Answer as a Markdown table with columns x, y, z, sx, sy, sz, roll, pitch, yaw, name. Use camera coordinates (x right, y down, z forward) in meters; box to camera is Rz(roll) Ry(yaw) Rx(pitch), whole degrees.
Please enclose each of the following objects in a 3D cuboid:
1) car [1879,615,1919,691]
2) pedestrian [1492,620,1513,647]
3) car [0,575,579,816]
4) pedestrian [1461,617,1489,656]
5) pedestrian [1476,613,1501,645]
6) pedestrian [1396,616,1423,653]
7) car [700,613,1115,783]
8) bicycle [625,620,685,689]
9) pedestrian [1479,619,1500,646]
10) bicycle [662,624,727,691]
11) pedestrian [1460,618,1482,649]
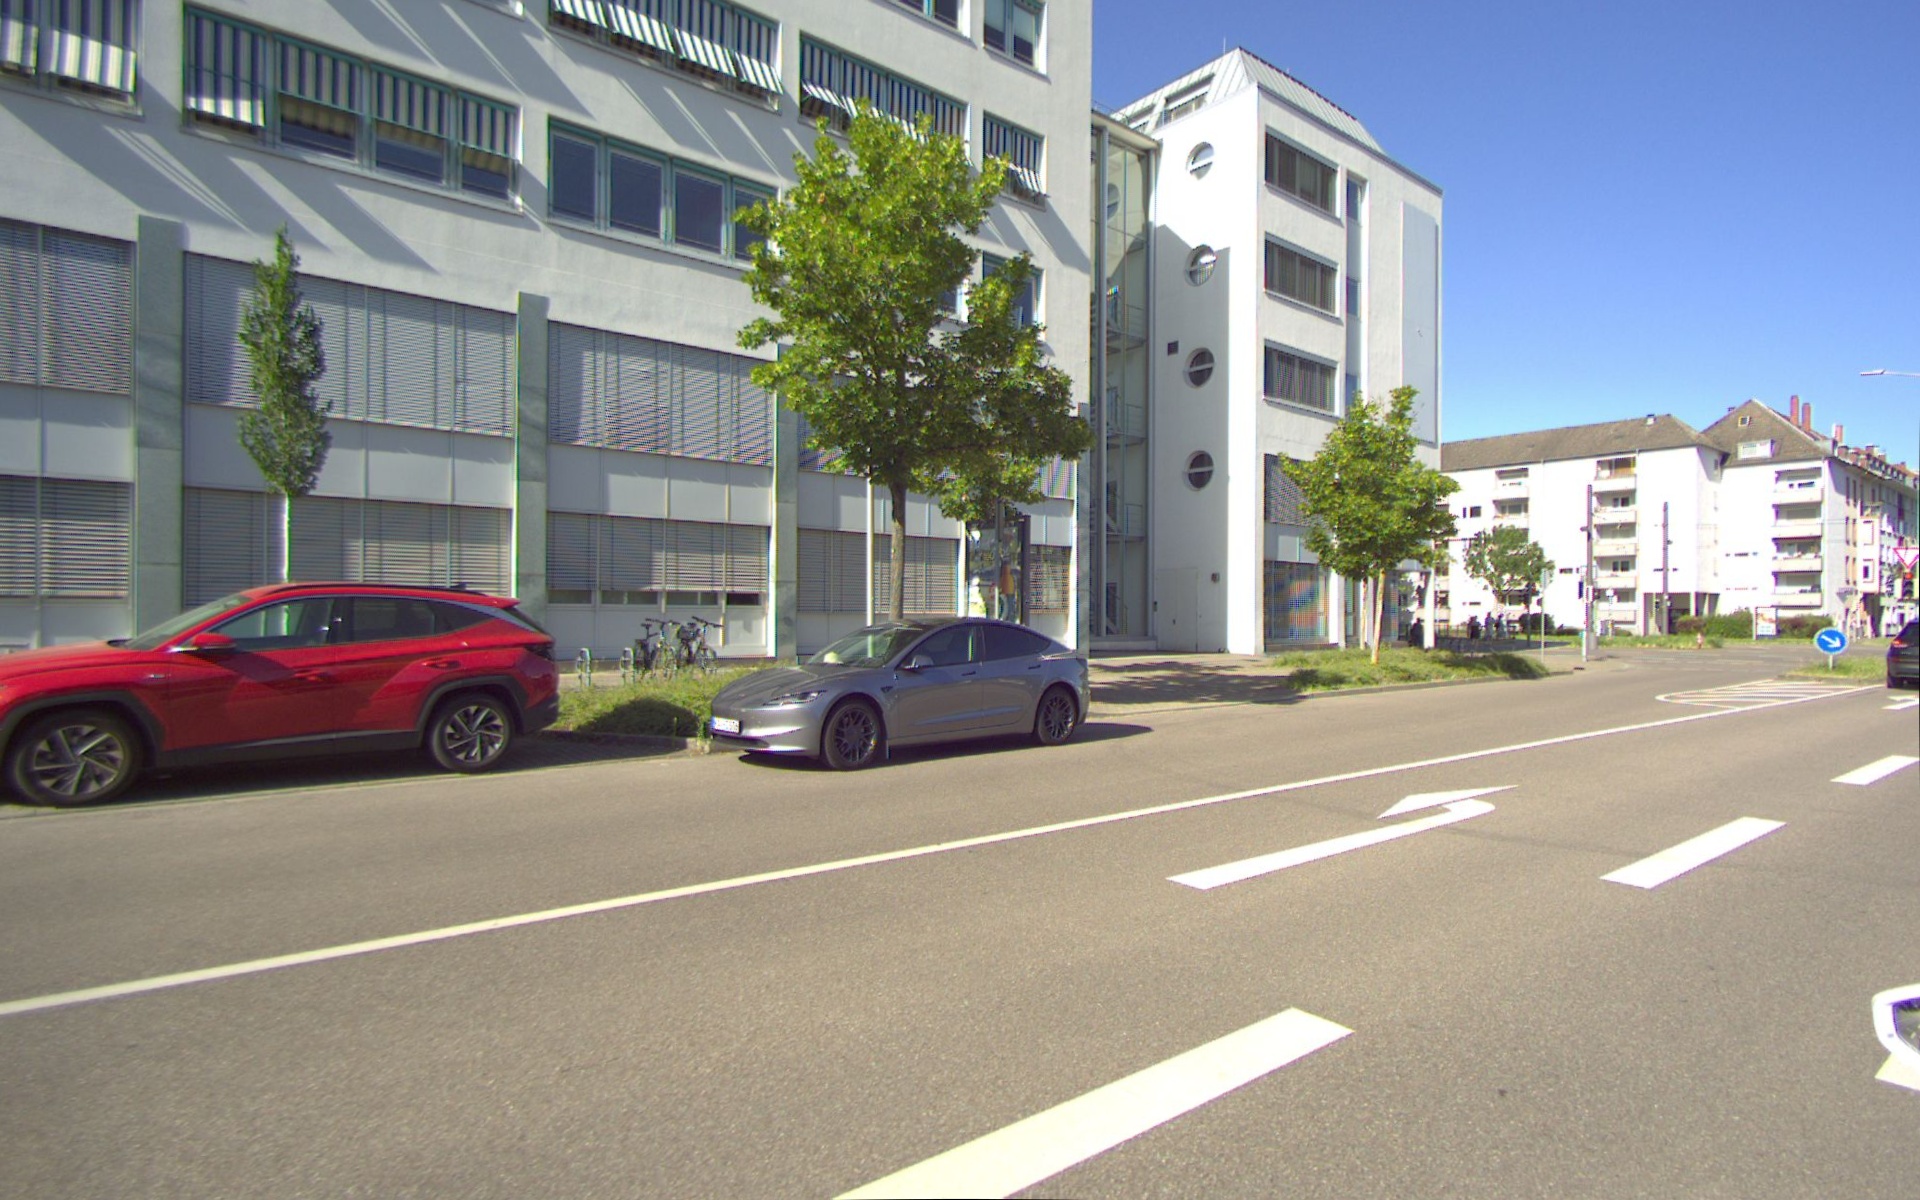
| x | y | z | sx | sy | sz | roll | pitch | yaw | name |
| --- | --- | --- | --- | --- | --- | --- | --- | --- | --- |
| 22.922 | 1.226 | 23.312 | 4.441 | 1.650 | 1.739 | 2 | 1 | -40 | car |
| 35.985 | 2.228 | 66.656 | 0.797 | 1.749 | 1.155 | 0 | -1 | 3 | pedestrian |
| -5.770 | 0.683 | 8.732 | 4.277 | 1.628 | 1.673 | 2 | 1 | -41 | car |
| 23.788 | 1.667 | 46.376 | 1.146 | 1.749 | 0.803 | 1 | -1 | -44 | pedestrian |
| 29.849 | 1.616 | 56.718 | 1.146 | 1.794 | 0.912 | 1 | -1 | -44 | pedestrian |
| 21.630 | 1.640 | 48.311 | 1.146 | 1.749 | 0.803 | 1 | -1 | -44 | pedestrian |
| -0.389 | 0.915 | 10.963 | 4.514 | 1.488 | 1.673 | 1 | -2 | -42 | car |
| -5.070 | 0.887 | 16.647 | 0.549 | 1.083 | 1.758 | 1 | -2 | -31 | bicycle |
| 35.170 | 2.154 | 66.768 | 0.797 | 1.749 | 1.155 | 0 | -1 | 3 | pedestrian |
| -4.589 | 0.963 | 17.275 | 0.614 | 1.083 | 1.780 | 1 | -2 | -31 | bicycle |
| 29.653 | 1.925 | 58.266 | 1.146 | 1.749 | 0.803 | 1 | -1 | -44 | pedestrian |
